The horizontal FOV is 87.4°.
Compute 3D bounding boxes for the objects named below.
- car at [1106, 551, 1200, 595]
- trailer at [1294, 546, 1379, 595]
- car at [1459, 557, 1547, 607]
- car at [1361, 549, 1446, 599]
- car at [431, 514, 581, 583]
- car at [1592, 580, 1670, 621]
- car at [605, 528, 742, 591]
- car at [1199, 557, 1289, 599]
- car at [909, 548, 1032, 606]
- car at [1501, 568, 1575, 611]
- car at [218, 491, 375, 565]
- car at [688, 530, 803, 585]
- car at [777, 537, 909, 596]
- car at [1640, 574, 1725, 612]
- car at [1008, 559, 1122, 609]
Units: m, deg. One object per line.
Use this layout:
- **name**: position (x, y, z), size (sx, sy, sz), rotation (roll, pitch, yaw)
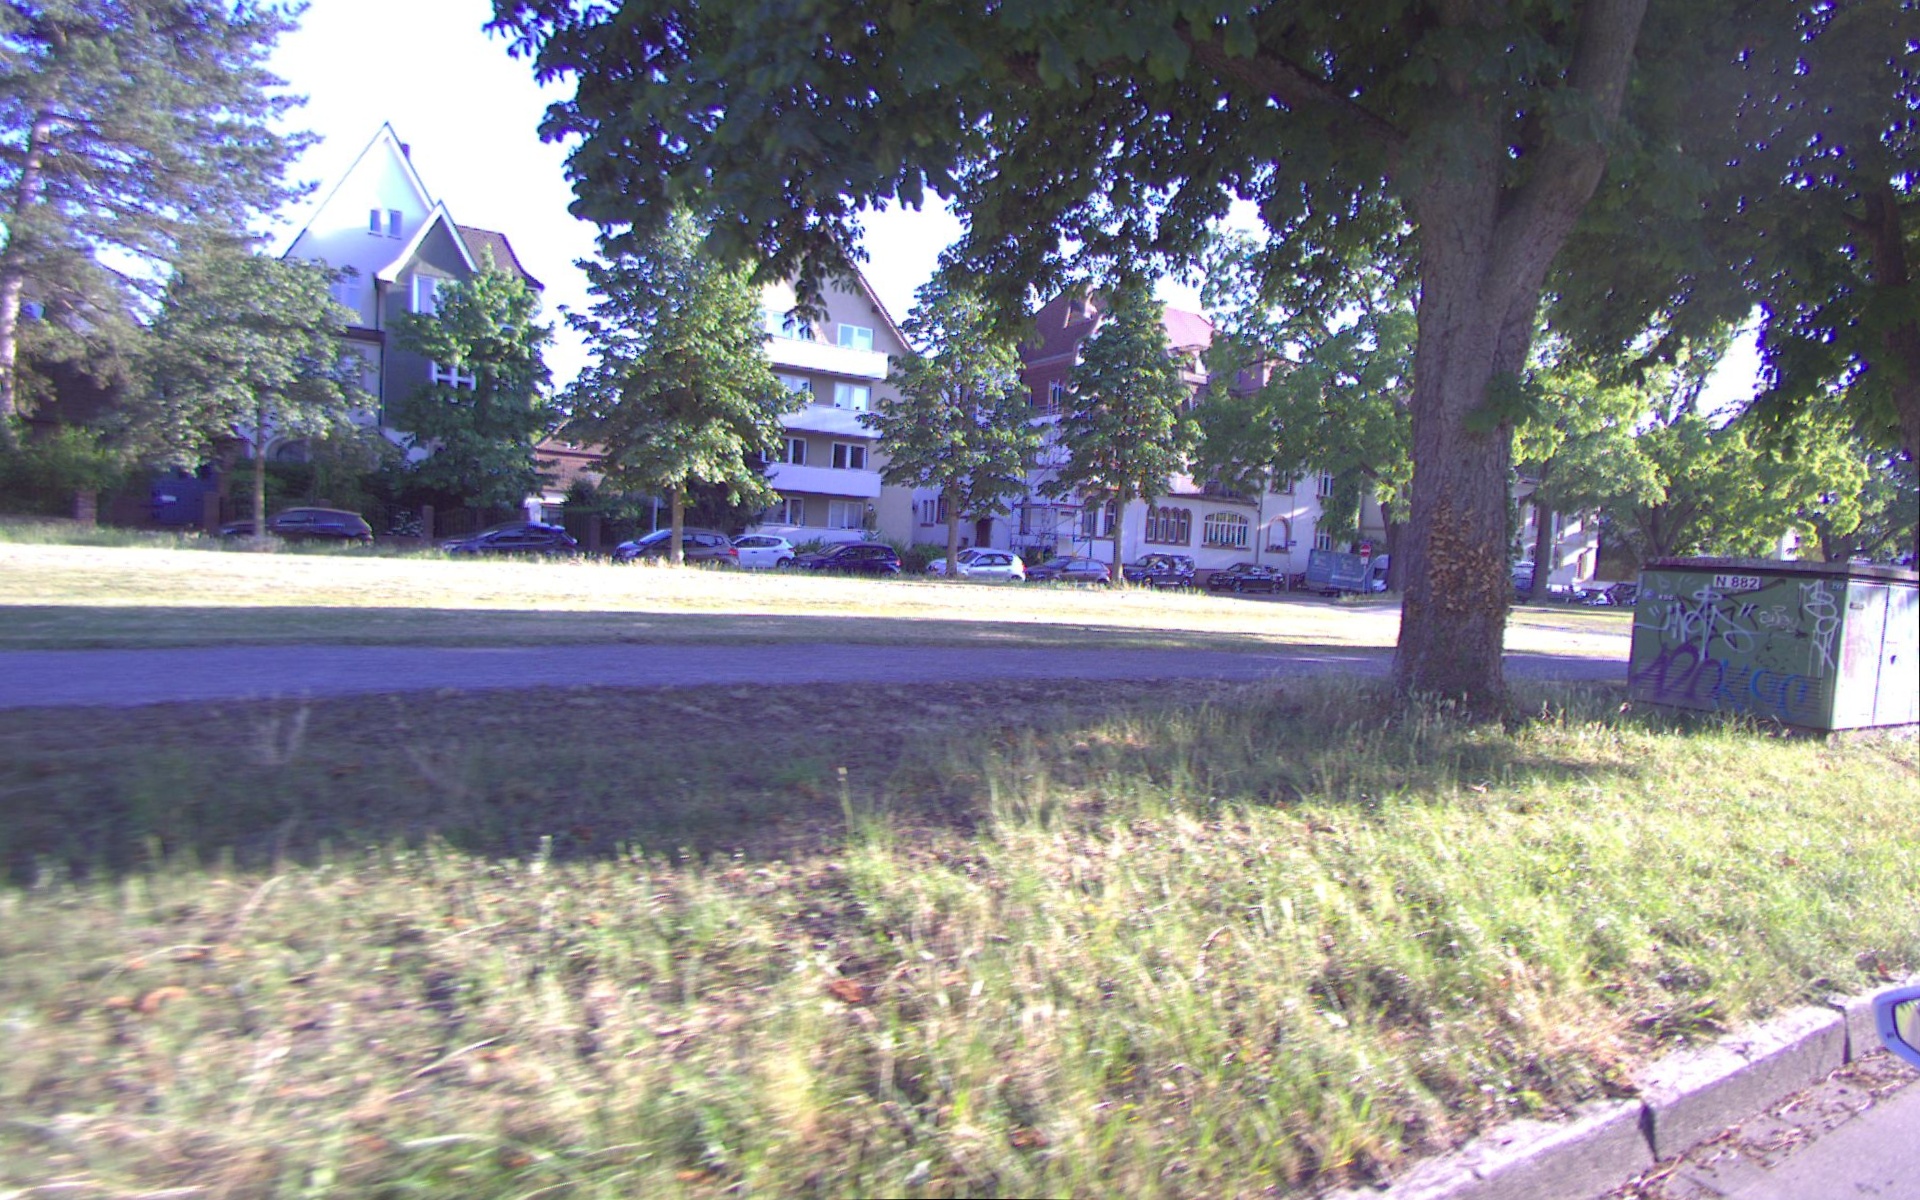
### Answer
- **car**: position (9.842, -1.362, 51.071), size (4.448, 1.901, 1.981), rotation (2, 3, -33)
- **trailer**: position (21.846, -1.701, 58.270), size (4.668, 2.460, 1.984), rotation (2, 3, -30)
- **car**: position (36.110, -1.166, 66.754), size (5.751, 2.961, 2.425), rotation (3, 1, -31)
- **car**: position (27.136, -1.576, 61.427), size (5.126, 2.708, 1.984), rotation (2, 3, -30)
- **car**: position (-13.766, -1.560, 30.492), size (3.951, 1.706, 1.985), rotation (3, 4, -28)
- **car**: position (42.847, 0.021, 64.140), size (5.127, 2.280, 1.983), rotation (2, 3, -31)
- **car**: position (-9.366, -1.328, 32.829), size (3.951, 1.706, 1.985), rotation (3, 4, -28)
- **car**: position (15.535, -1.202, 54.891), size (4.697, 1.979, 1.983), rotation (2, 3, -32)
- **car**: position (0.419, -0.877, 38.837), size (4.204, 1.885, 1.984), rotation (3, 4, -29)
- **car**: position (33.714, -0.619, 58.567), size (4.263, 2.205, 1.677), rotation (2, 3, -30)
- **car**: position (-21.411, -2.334, 32.594), size (3.948, 2.041, 1.986), rotation (3, 4, -26)
- **car**: position (-8.527, -1.679, 39.980), size (3.957, 1.806, 1.982), rotation (3, 4, -33)
- **car**: position (-4.189, -1.192, 36.120), size (4.204, 1.744, 1.984), rotation (3, 4, -29)
- **car**: position (48.862, -0.444, 67.930), size (5.394, 2.266, 2.522), rotation (2, 3, -30)
- **car**: position (4.310, -0.654, 41.276), size (4.204, 1.671, 1.984), rotation (3, 4, -29)
